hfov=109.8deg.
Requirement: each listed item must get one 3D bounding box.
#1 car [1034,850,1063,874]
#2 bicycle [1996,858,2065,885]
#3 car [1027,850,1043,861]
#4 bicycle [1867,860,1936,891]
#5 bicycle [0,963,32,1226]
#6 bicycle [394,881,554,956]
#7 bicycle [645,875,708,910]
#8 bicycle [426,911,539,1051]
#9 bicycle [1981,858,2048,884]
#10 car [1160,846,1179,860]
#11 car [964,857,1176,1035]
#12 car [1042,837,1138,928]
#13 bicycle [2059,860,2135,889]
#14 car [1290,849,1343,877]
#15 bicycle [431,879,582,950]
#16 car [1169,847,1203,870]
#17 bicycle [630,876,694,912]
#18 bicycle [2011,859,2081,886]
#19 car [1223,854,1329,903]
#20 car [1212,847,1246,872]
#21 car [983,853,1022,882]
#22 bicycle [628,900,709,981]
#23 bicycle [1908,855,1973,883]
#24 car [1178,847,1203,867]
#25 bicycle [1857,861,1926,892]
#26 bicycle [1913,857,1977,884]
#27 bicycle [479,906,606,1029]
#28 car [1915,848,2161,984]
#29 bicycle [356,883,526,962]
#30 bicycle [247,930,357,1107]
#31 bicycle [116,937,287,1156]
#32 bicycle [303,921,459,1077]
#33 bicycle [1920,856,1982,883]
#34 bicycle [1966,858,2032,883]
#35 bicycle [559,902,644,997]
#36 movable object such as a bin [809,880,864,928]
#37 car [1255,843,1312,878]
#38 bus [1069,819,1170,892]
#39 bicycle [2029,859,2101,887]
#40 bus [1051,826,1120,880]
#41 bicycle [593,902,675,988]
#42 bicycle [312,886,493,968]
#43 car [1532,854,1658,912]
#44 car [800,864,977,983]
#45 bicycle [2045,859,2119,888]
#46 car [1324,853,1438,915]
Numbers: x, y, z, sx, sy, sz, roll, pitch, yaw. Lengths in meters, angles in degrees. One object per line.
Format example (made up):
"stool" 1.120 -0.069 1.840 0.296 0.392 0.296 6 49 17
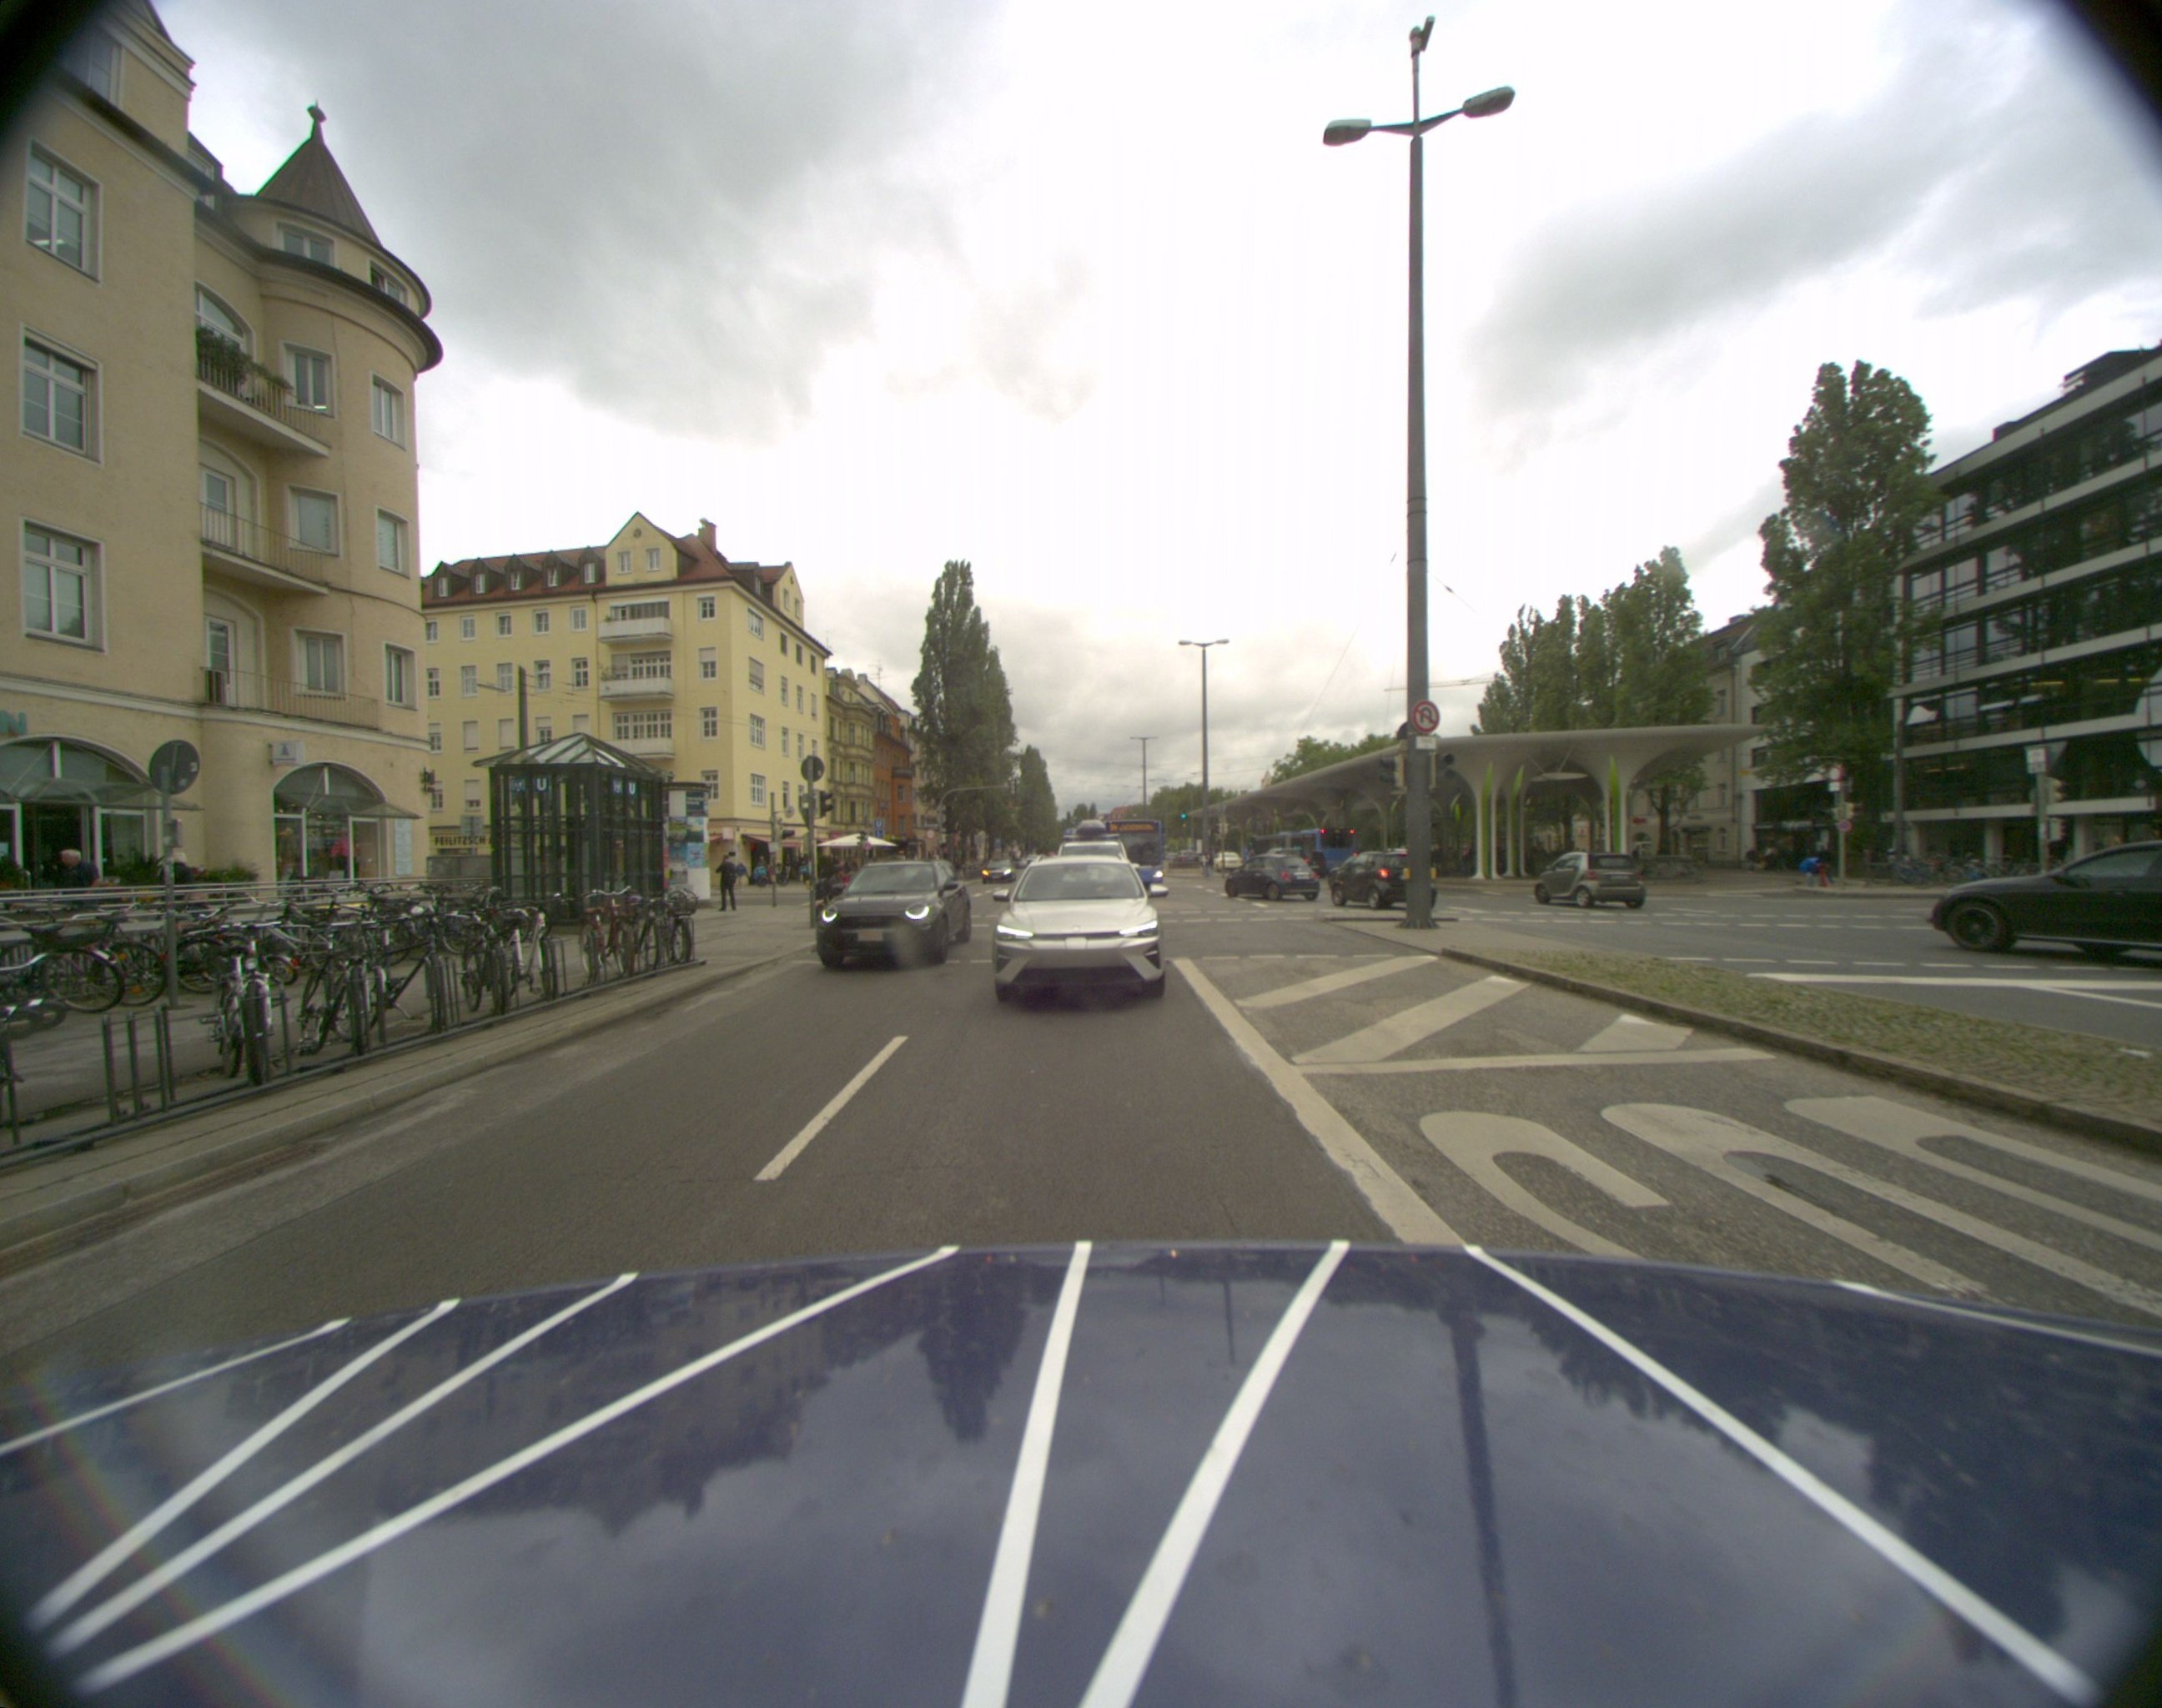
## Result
"car" -2.557 0.637 60.317 1.998 1.740 3.999 -2 1 1
"bicycle" 41.233 0.760 33.017 2.073 1.127 0.561 -1 1 6
"car" -7.042 0.166 116.698 1.998 1.630 4.000 -1 0 1
"bicycle" 30.550 0.783 28.321 0.473 1.091 1.672 -1 0 -24
"bicycle" -5.851 1.211 3.852 1.791 1.131 0.490 -2 1 39
"bicycle" -10.476 1.103 13.145 2.317 1.220 0.628 -1 1 3
"bicycle" -13.020 1.231 24.452 1.822 1.121 0.610 -1 0 13
"bicycle" -5.787 1.157 7.318 1.673 1.131 0.479 -1 1 40
"bicycle" 41.277 0.750 33.621 2.073 1.127 0.561 -1 1 6
"car" 10.765 -0.168 92.512 1.847 1.529 3.999 -2 1 1
"car" -0.046 0.859 8.965 1.896 1.483 4.000 -2 1 2
"car" 0.231 0.594 18.526 1.998 1.889 4.235 -2 1 1
"bicycle" 40.865 0.811 30.566 2.073 1.127 0.561 -1 1 6
"car" 13.872 0.484 44.990 1.932 1.576 4.000 -1 0 1
"bicycle" -10.448 1.091 13.863 2.317 1.220 0.628 -1 1 3
"car" 7.356 0.317 53.612 1.922 1.461 4.000 -2 1 1
"bicycle" -13.119 1.244 23.804 1.822 1.121 0.610 -1 0 13
"bicycle" 41.183 0.771 32.434 2.073 1.127 0.561 -1 1 6
"car" 6.310 0.756 24.946 1.630 1.471 3.381 0 0 -24
"car" 10.700 0.376 55.160 1.760 1.674 4.000 -2 1 2
"car" -4.848 0.816 47.296 1.854 1.615 3.999 -2 1 1
"bicycle" -5.955 1.223 10.920 1.848 1.053 0.398 -5 -1 43
"bicycle" 34.469 0.597 30.506 0.473 1.091 1.672 -1 0 -24
"car" 10.309 0.262 71.824 1.847 1.674 4.000 -2 1 1
"bicycle" 29.819 0.817 27.975 0.473 1.091 1.672 -1 0 -24
"bicycle" 35.269 0.651 31.025 0.474 1.091 1.671 -1 1 -33
"bicycle" -5.737 1.144 8.060 1.780 1.131 0.479 -2 1 35
"car" 13.617 0.721 9.223 1.998 1.567 4.617 0 0 2
"bicycle" -10.487 1.113 12.482 2.317 1.220 0.628 -1 1 3
"bicycle" -5.964 1.187 5.795 1.521 1.131 0.349 -2 1 37
"bicycle" -6.000 1.198 5.156 1.791 1.131 0.591 -2 1 37
"bicycle" -6.021 1.178 6.512 1.674 1.131 0.479 -2 1 31
"bicycle" 36.325 0.622 31.742 0.474 1.091 1.671 -1 1 -33
"bicycle" 41.343 0.738 34.232 2.073 1.127 0.561 -1 1 6
"bicycle" -6.010 1.166 9.478 1.848 1.053 0.398 -5 -1 43
"movable object such as a bin" -5.843 1.190 18.202 1.089 1.056 0.747 1 1 -2
"car" 10.850 0.289 41.061 1.998 1.762 4.306 1 1 2
"bus" 1.528 -0.007 36.900 2.943 2.927 11.205 -2 1 -7
"bicycle" 41.122 0.783 31.766 2.073 1.127 0.561 -1 1 6
"bus" 0.033 -0.117 48.624 2.943 2.927 11.205 -2 1 -7
"bicycle" -6.084 1.212 10.293 1.848 1.053 0.398 -5 -1 43
"bicycle" -10.552 1.125 11.849 2.317 1.220 0.628 -1 1 3
"car" 14.372 0.765 21.400 1.674 1.506 2.746 -1 0 -1
"car" -2.830 0.951 12.125 1.740 1.461 4.050 -2 0 0
"bicycle" 41.040 0.795 31.155 2.073 1.127 0.561 -1 1 6
"car" 7.990 0.742 20.456 1.562 1.498 2.785 -1 1 -12
